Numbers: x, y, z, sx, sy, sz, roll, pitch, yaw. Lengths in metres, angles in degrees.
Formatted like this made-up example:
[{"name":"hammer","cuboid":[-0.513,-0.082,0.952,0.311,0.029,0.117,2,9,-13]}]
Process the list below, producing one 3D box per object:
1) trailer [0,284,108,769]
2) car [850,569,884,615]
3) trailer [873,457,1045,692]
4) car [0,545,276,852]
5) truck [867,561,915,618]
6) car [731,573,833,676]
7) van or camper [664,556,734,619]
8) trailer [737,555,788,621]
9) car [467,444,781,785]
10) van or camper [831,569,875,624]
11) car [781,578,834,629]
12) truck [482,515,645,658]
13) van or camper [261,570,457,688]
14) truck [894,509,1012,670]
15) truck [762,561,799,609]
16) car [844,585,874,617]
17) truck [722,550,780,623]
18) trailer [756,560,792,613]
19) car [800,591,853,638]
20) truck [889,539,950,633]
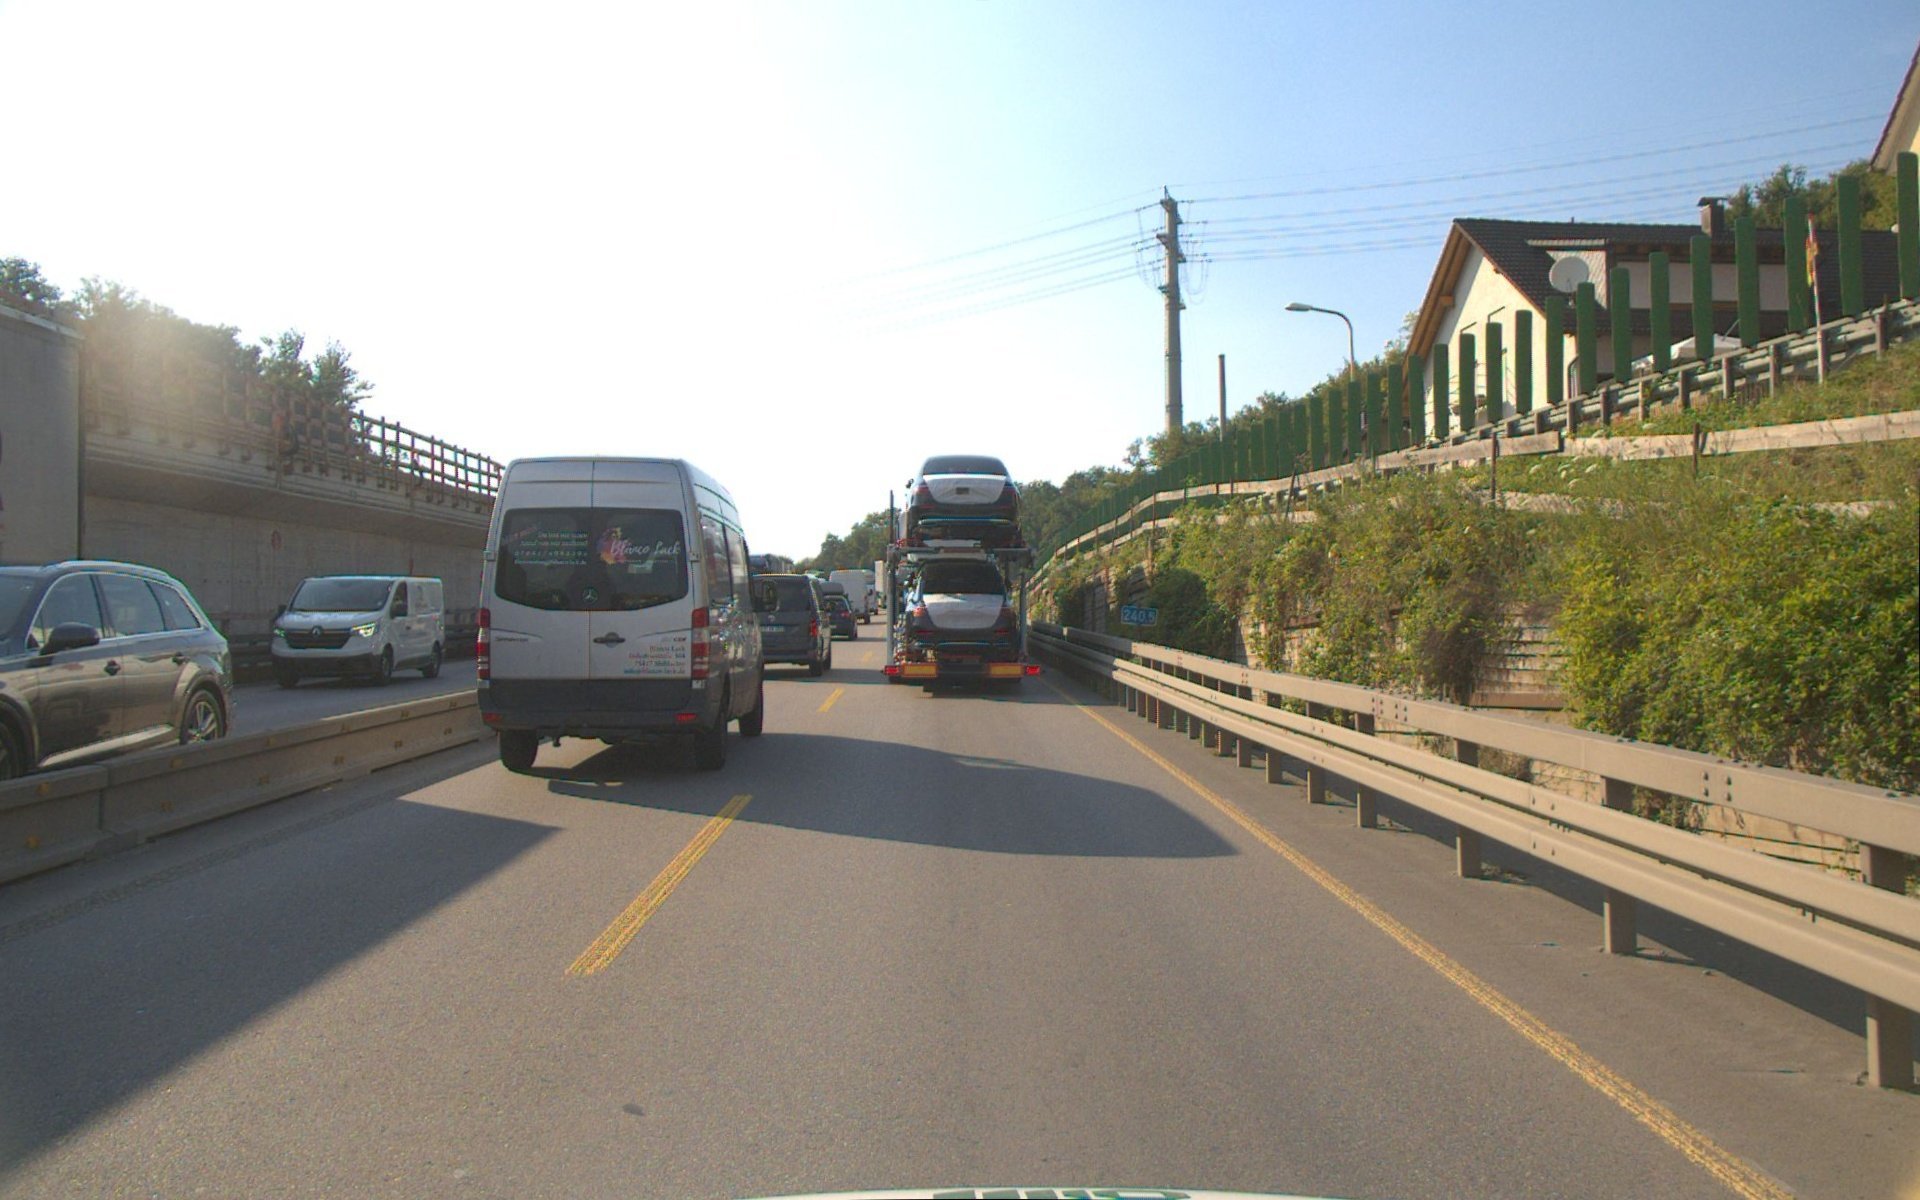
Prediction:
[{"name":"trailer","cuboid":[-9.883,-0.743,9.664,2.854,4.314,13.764,1,-1,-1]},{"name":"car","cuboid":[-10.762,-0.888,190.647,3.379,5.123,9.640,1,0,-6]},{"name":"trailer","cuboid":[-0.098,-0.298,33.208,2.628,3.597,15.285,1,-1,-1]},{"name":"car","cuboid":[-6.586,0.591,11.314,1.785,1.803,5.138,1,-1,-2]},{"name":"truck","cuboid":[-5.921,-0.875,143.778,3.983,4.761,10.589,0,0,-1]},{"name":"car","cuboid":[-3.548,0.505,33.611,1.772,1.937,3.998,1,-1,-3]},{"name":"van or camper","cuboid":[-11.882,-0.547,75.791,2.265,2.709,6.453,-2,0,-1]},{"name":"trailer","cuboid":[-13.320,-0.817,112.178,2.554,4.184,9.622,-3,1,-3]},{"name":"car","cuboid":[-2.973,0.108,15.950,1.953,2.694,5.529,-1,0,-1]},{"name":"van or camper","cuboid":[-5.320,-0.134,82.489,1.928,2.637,5.040,1,-1,-1]},{"name":"car","cuboid":[-7.826,0.182,85.171,2.421,2.578,3.999,0,-1,-2]},{"name":"truck","cuboid":[-10.731,-0.285,45.590,2.660,3.484,8.137,-3,-1,-2]},{"name":"van or camper","cuboid":[-10.846,0.495,30.254,1.878,1.956,4.921,1,0,-1]},{"name":"truck","cuboid":[-0.200,-0.185,40.774,2.628,3.597,7.192,1,-1,-1]},{"name":"truck","cuboid":[-16.754,-1.301,155.268,2.924,4.226,15.840,1,0,-4]},{"name":"car","cuboid":[-6.768,0.062,110.680,1.847,2.137,3.764,0,0,-1]},{"name":"truck","cuboid":[-12.870,-0.793,102.531,2.572,4.184,9.622,-3,0,-3]},{"name":"trailer","cuboid":[-15.239,-1.117,136.251,2.657,4.164,12.555,0,0,-5]},{"name":"car","cuboid":[-4.656,0.484,58.163,1.691,1.549,3.971,1,0,-2]},{"name":"truck","cuboid":[-2.199,-0.709,86.706,2.850,4.687,7.280,0,0,-4]}]
